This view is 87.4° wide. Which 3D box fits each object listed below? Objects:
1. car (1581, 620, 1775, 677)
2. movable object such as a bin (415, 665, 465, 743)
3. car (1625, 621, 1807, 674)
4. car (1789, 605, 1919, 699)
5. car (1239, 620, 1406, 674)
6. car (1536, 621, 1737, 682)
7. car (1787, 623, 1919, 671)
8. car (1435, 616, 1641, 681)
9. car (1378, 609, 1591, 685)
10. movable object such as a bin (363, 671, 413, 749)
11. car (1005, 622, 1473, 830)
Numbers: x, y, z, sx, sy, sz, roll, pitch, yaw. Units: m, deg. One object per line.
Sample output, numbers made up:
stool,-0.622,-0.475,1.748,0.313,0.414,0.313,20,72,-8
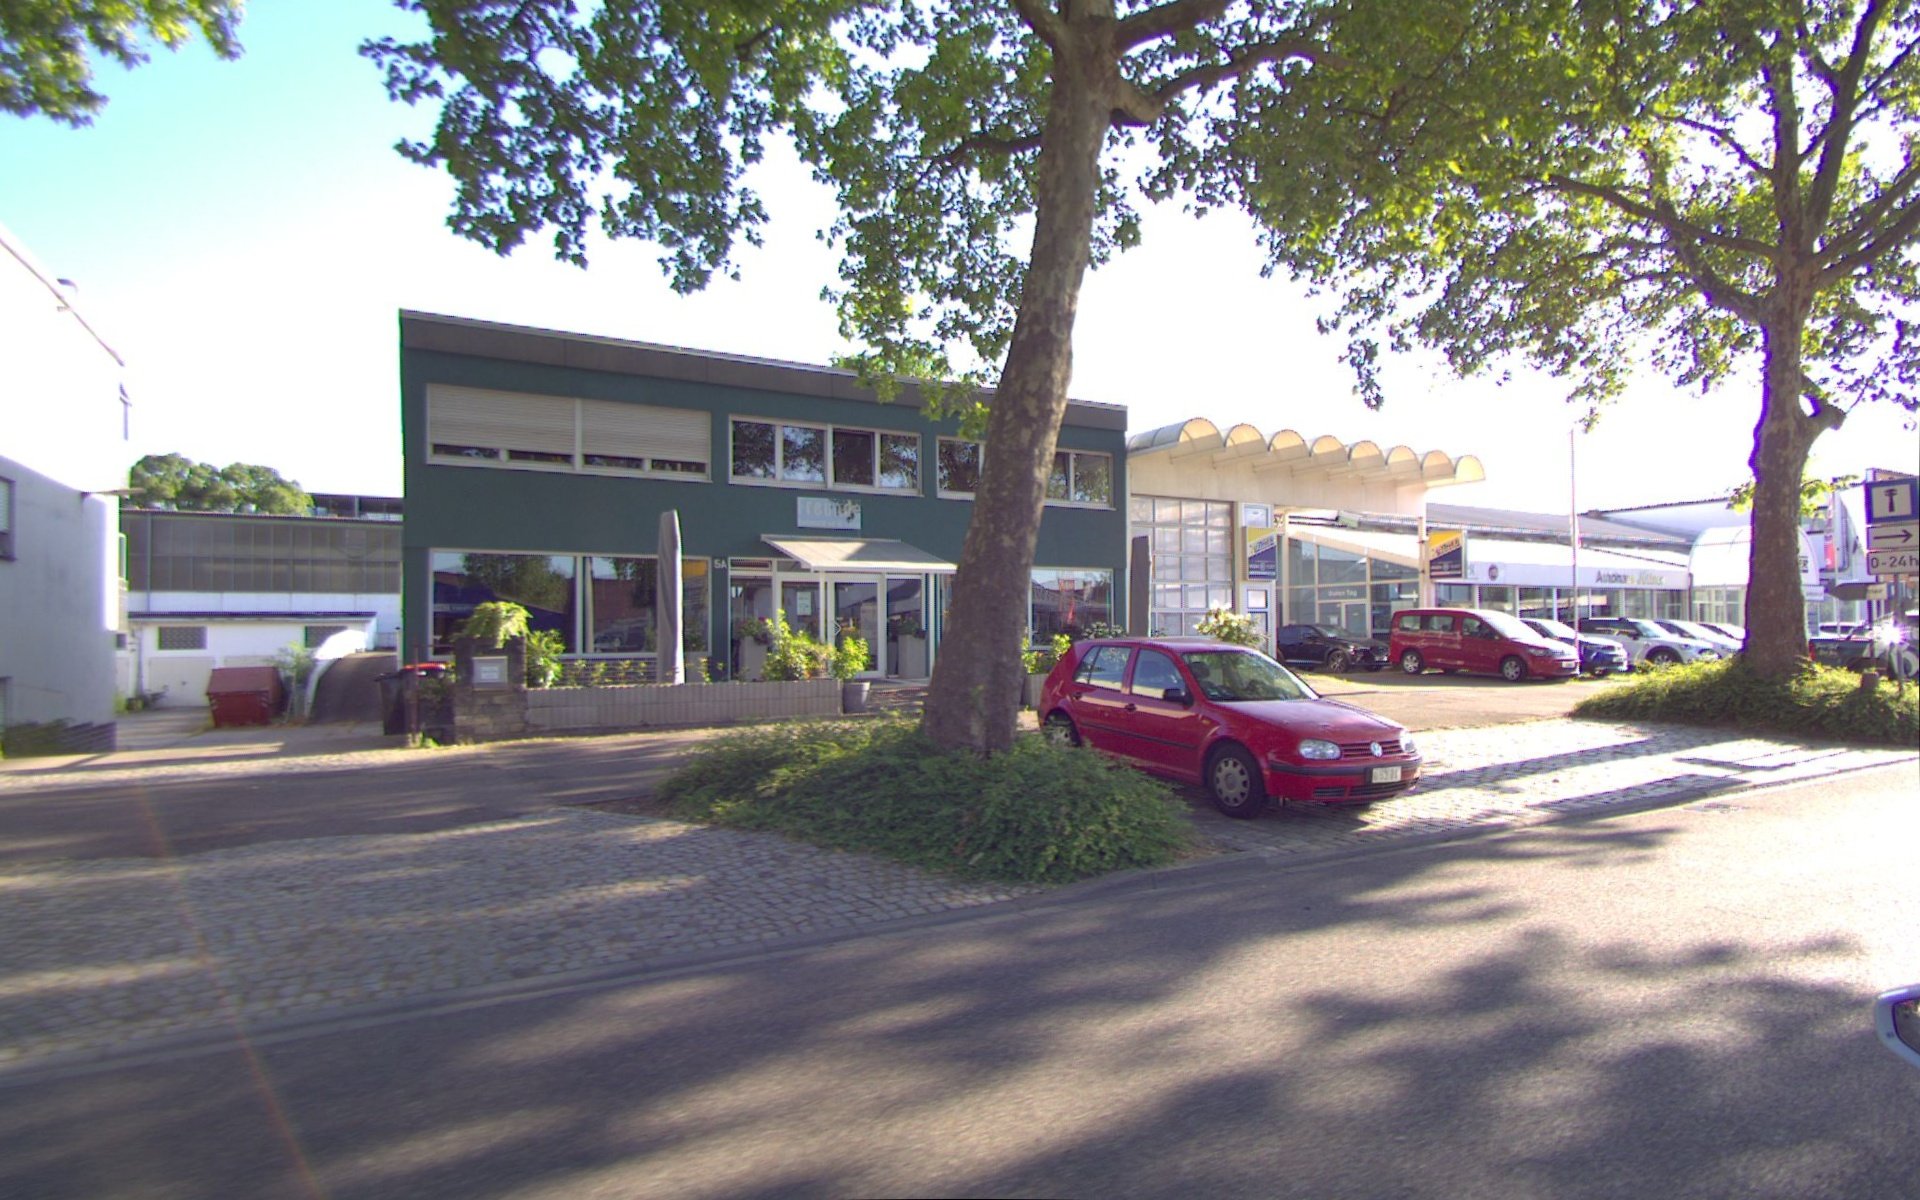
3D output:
car,22.504,1.460,31.696,1.906,1.613,4.638,1,-1,-30
movable object such as a bin,-7.958,1.570,15.351,0.629,1.114,0.786,1,-1,-30
car,24.706,1.518,33.002,1.815,1.574,4.442,1,-1,-30
car,20.793,1.094,20.760,2.175,1.923,5.236,2,-1,-29
car,11.217,1.536,31.425,1.977,1.535,4.725,1,-5,-30
car,20.384,1.490,30.482,1.977,1.664,4.695,1,-1,-30
car,35.304,1.784,38.752,1.977,1.711,4.918,1,-1,-31
car,16.156,1.304,28.330,1.977,1.655,4.690,1,-1,-30
car,13.811,1.171,26.772,1.977,1.843,4.723,1,-1,-30
movable object such as a bin,-8.779,1.669,15.416,0.629,1.114,0.786,1,-1,-30
car,2.401,0.997,9.789,1.976,1.465,4.277,2,-1,-29
